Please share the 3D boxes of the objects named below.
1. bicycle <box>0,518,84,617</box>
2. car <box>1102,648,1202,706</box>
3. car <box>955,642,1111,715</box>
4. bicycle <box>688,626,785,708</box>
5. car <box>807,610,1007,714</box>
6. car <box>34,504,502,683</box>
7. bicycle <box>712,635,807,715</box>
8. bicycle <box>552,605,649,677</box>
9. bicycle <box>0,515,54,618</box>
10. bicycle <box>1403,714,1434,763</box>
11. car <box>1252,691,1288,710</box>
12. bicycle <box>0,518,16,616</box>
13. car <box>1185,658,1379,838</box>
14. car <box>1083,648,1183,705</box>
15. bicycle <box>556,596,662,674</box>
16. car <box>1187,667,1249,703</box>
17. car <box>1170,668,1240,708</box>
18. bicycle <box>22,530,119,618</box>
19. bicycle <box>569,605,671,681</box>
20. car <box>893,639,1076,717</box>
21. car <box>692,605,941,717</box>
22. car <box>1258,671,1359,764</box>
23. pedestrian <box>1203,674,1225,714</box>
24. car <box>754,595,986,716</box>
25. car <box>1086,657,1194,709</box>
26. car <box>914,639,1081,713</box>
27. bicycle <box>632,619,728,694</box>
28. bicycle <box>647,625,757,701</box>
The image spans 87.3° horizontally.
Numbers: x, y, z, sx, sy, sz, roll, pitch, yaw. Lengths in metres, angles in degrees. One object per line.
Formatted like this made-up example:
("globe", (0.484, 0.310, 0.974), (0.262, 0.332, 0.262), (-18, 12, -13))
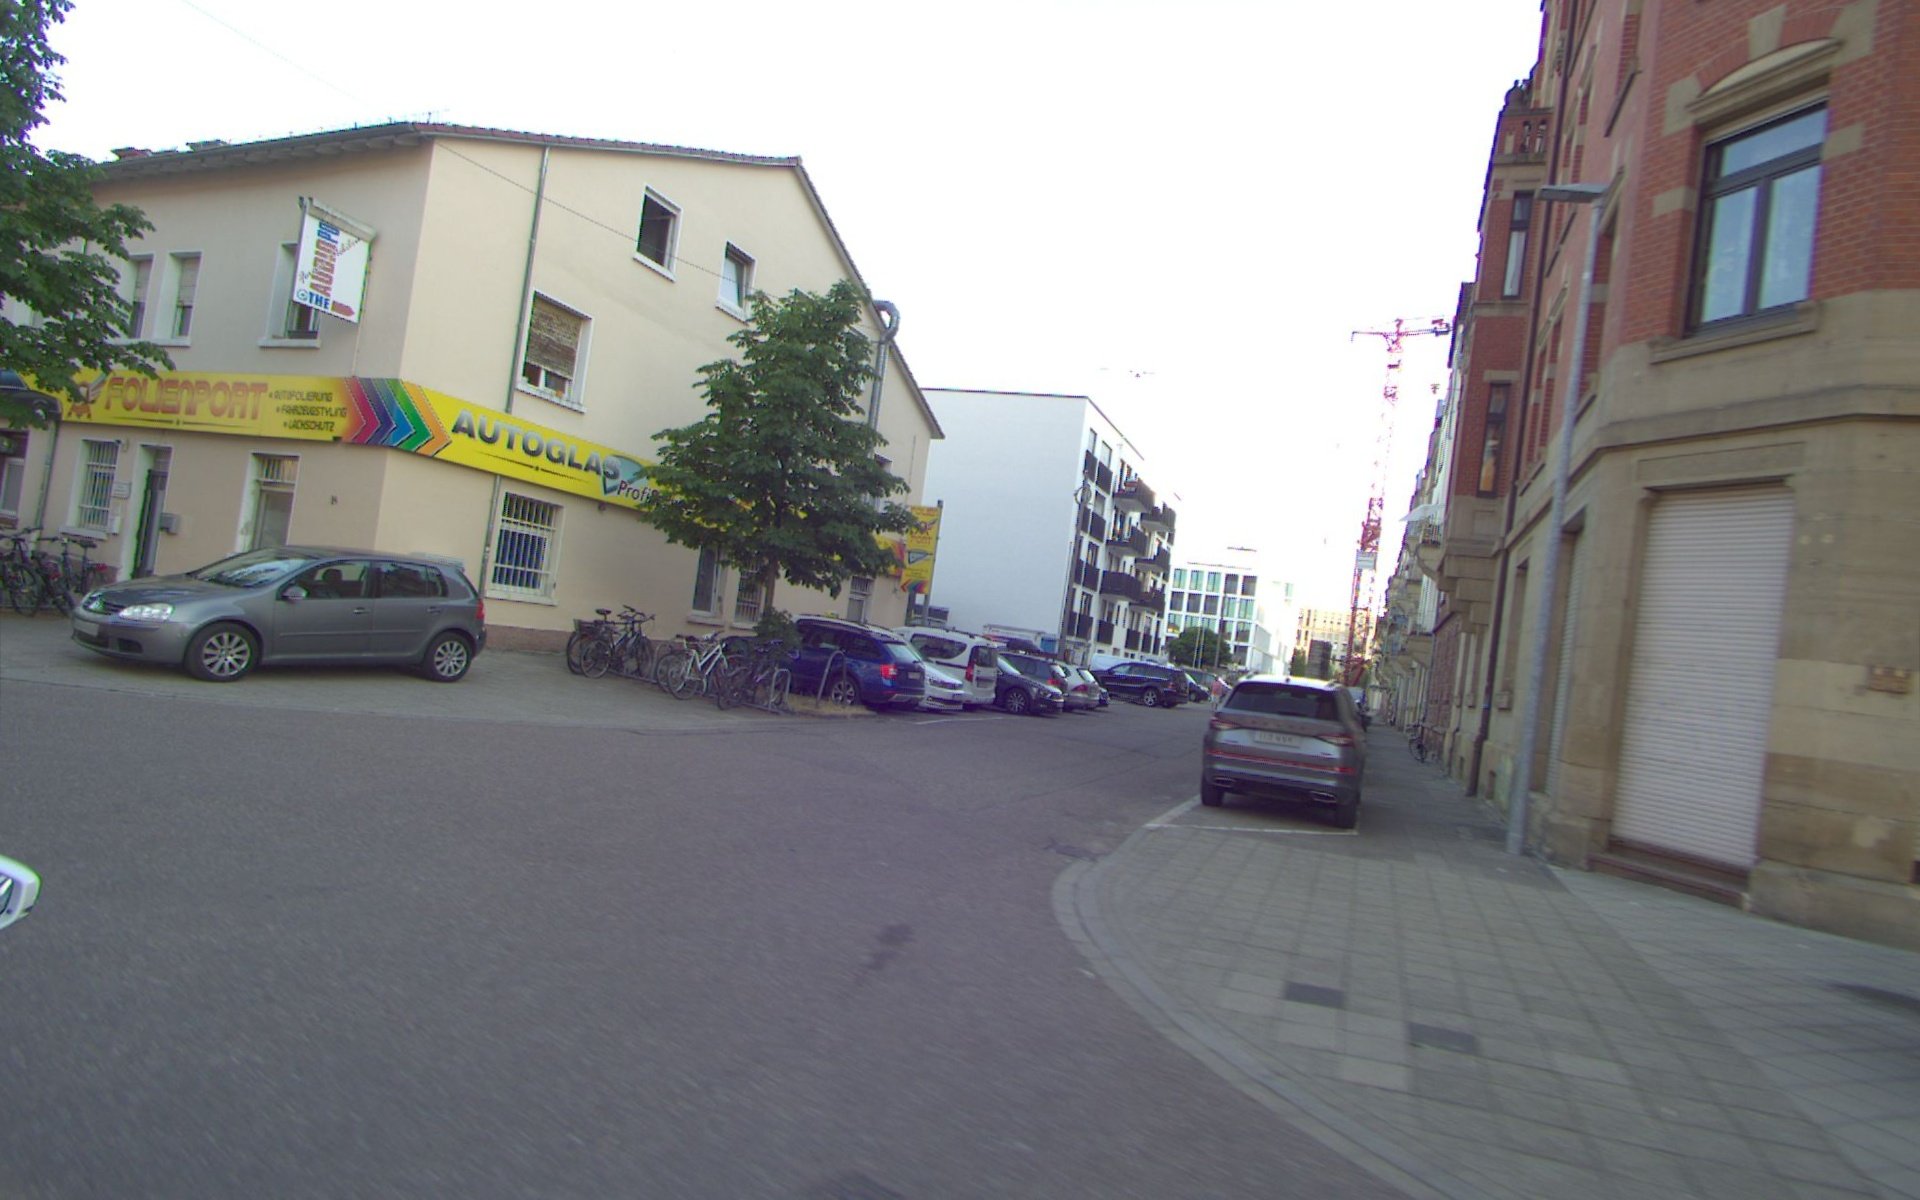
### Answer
("bicycle", (-12.425, -0.443, 13.517), (1.455, 1.157, 0.354), (7, 0, 26))
("car", (10.239, 4.105, 53.750), (4.736, 2.514, 1.879), (6, -2, 24))
("car", (2.236, 2.391, 30.829), (4.254, 1.659, 1.945), (6, -2, 23))
("bicycle", (-3.413, 1.060, 15.548), (0.420, 1.141, 1.927), (8, -2, 17))
("car", (-1.263, 1.467, 24.191), (4.255, 1.924, 1.879), (6, -2, 24))
("car", (-7.742, 0.049, 11.740), (1.725, 1.532, 4.061), (9, 0, 26))
("bicycle", (-3.024, 1.160, 15.377), (0.420, 1.087, 1.858), (10, -2, 17))
("bicycle", (-5.887, 0.699, 16.547), (0.337, 1.031, 1.609), (10, -2, 24))
("bicycle", (-12.504, -0.472, 13.155), (1.455, 1.215, 0.354), (7, 0, 26))
("bicycle", (12.863, 3.864, 28.239), (0.674, 1.279, 1.851), (3, -5, 23))
("car", (39.873, 12.931, 129.398), (3.938, 1.902, 2.001), (7, -3, 26))
("bicycle", (-12.695, -0.502, 12.770), (1.455, 1.215, 0.446), (7, 0, 26))
("car", (4.306, 1.759, 12.949), (1.844, 1.691, 4.334), (6, -2, 23))
("car", (8.399, 3.706, 48.891), (4.257, 2.193, 1.878), (5, -2, 27))
("bicycle", (-6.034, 0.632, 17.424), (0.337, 1.161, 1.867), (10, -2, 26))
("car", (20.393, 6.700, 79.516), (4.255, 2.300, 1.879), (6, -2, 24))
("car", (16.897, 6.041, 69.320), (4.255, 2.193, 1.879), (6, -2, 24))
("bicycle", (-12.301, -0.363, 13.903), (1.455, 1.029, 0.388), (7, 0, 26))
("bicycle", (-5.536, 0.735, 16.491), (0.337, 1.082, 1.738), (10, -2, 24))
("car", (0.634, 2.000, 26.022), (4.255, 1.462, 1.792), (6, -2, 24))
("car", (-2.849, 1.188, 19.917), (4.489, 1.527, 1.747), (7, -1, 23))
("car", (8.477, 2.771, 24.236), (1.844, 1.814, 4.334), (6, -2, 23))
("pedestrian", (11.670, 4.303, 46.253), (0.644, 1.733, 0.741), (7, -2, 23))
("car", (-1.972, 1.194, 21.987), (4.495, 1.853, 1.879), (9, -1, 24))
("car", (8.053, 3.692, 44.950), (4.255, 1.802, 1.962), (6, -2, 24))
("car", (1.068, 2.144, 28.697), (4.255, 1.554, 1.879), (6, -2, 24))
("bicycle", (-4.435, 0.931, 16.063), (0.337, 1.053, 1.608), (10, -2, 26))
("bicycle", (-4.002, 1.021, 15.781), (0.420, 1.021, 1.856), (10, -2, 26))
